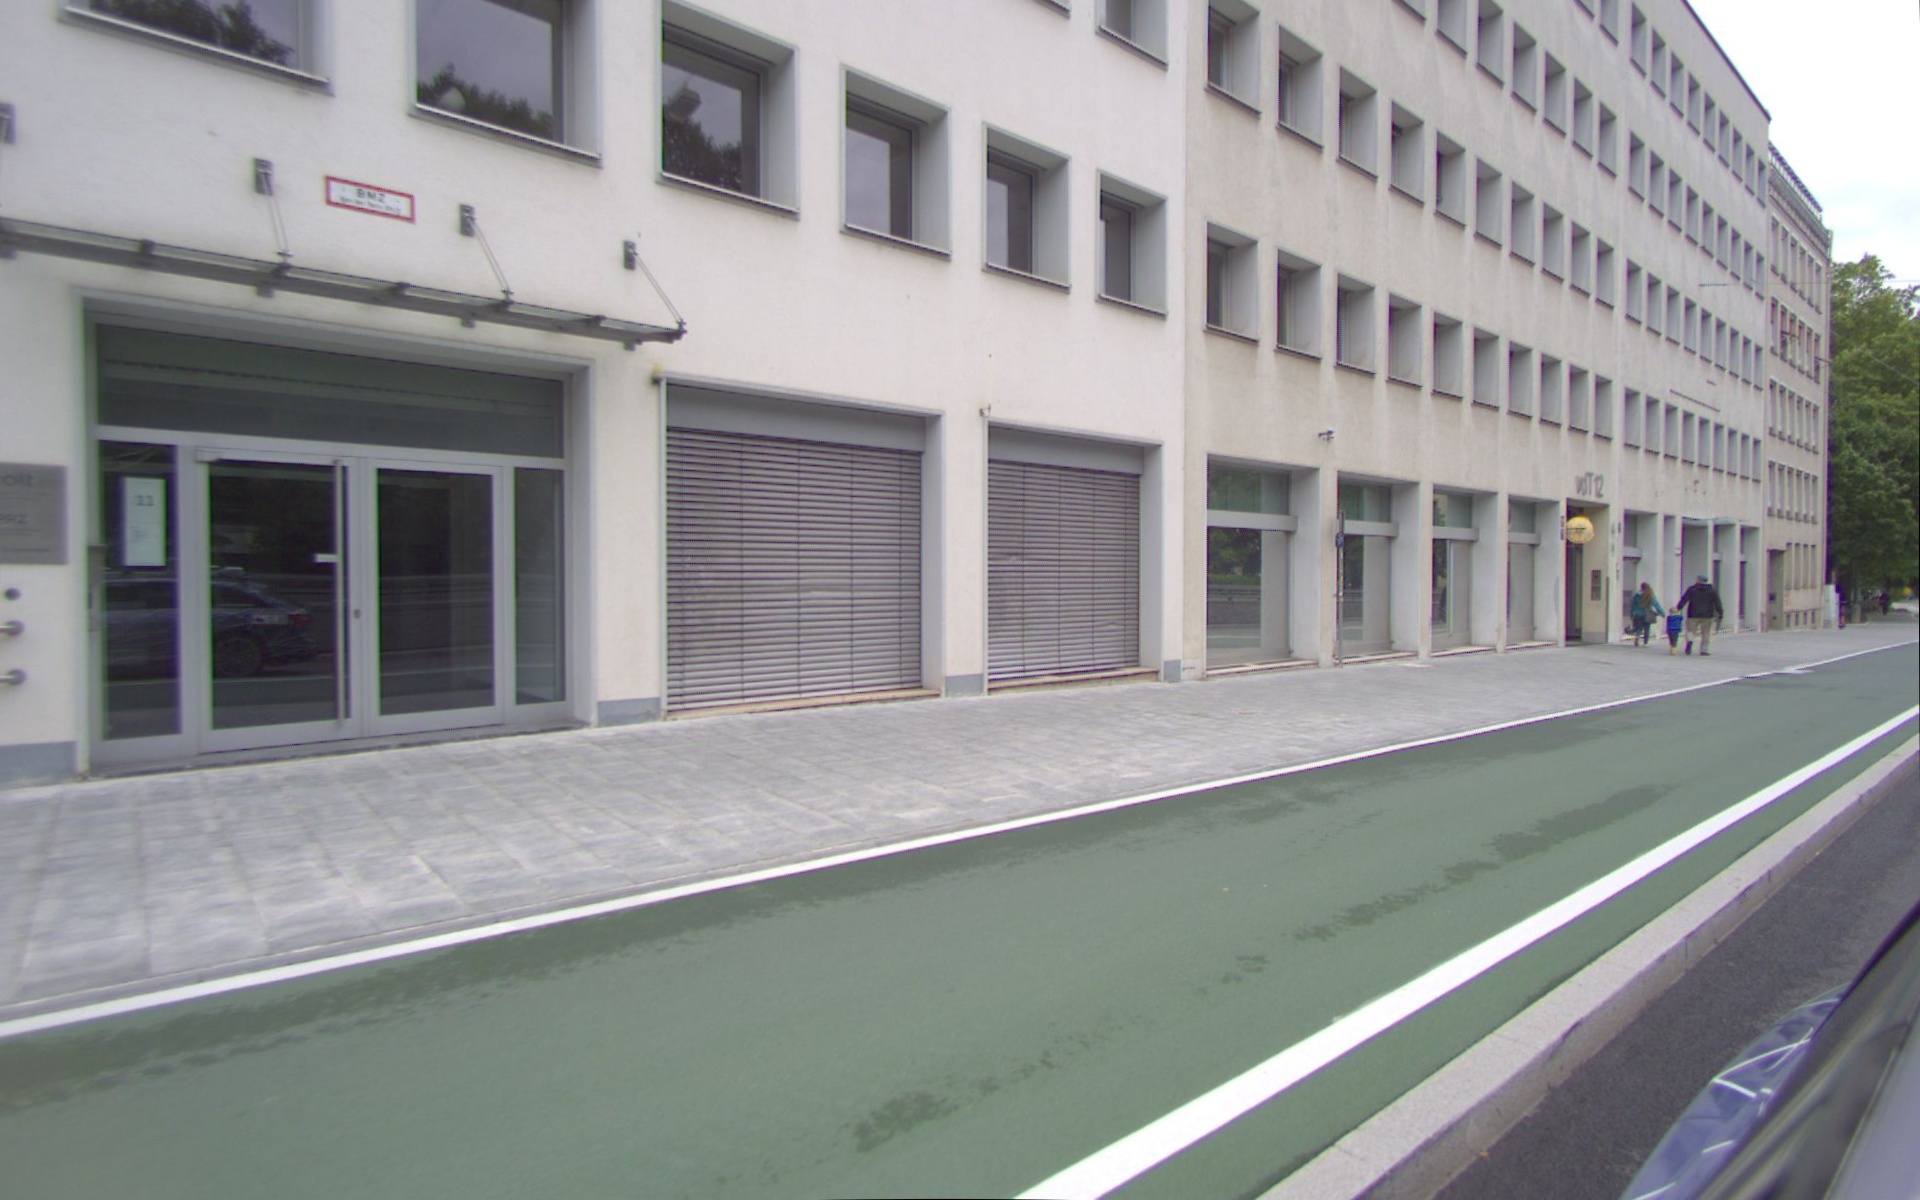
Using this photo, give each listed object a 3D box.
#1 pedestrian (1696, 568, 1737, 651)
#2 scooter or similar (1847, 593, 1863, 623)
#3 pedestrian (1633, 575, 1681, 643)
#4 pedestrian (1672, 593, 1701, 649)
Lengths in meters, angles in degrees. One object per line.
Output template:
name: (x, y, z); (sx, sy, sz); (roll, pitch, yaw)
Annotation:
pedestrian: (17.401, 0.213, 23.272); (0.591, 1.858, 0.514); (0, 4, -41)
scooter or similar: (40.457, 0.345, 45.742); (1.100, 1.288, 0.387); (-2, 3, -42)
pedestrian: (17.530, 0.213, 25.462); (0.692, 1.639, 0.754); (0, 4, -40)
pedestrian: (16.812, 0.478, 23.413); (0.461, 1.261, 0.368); (0, 4, -41)
